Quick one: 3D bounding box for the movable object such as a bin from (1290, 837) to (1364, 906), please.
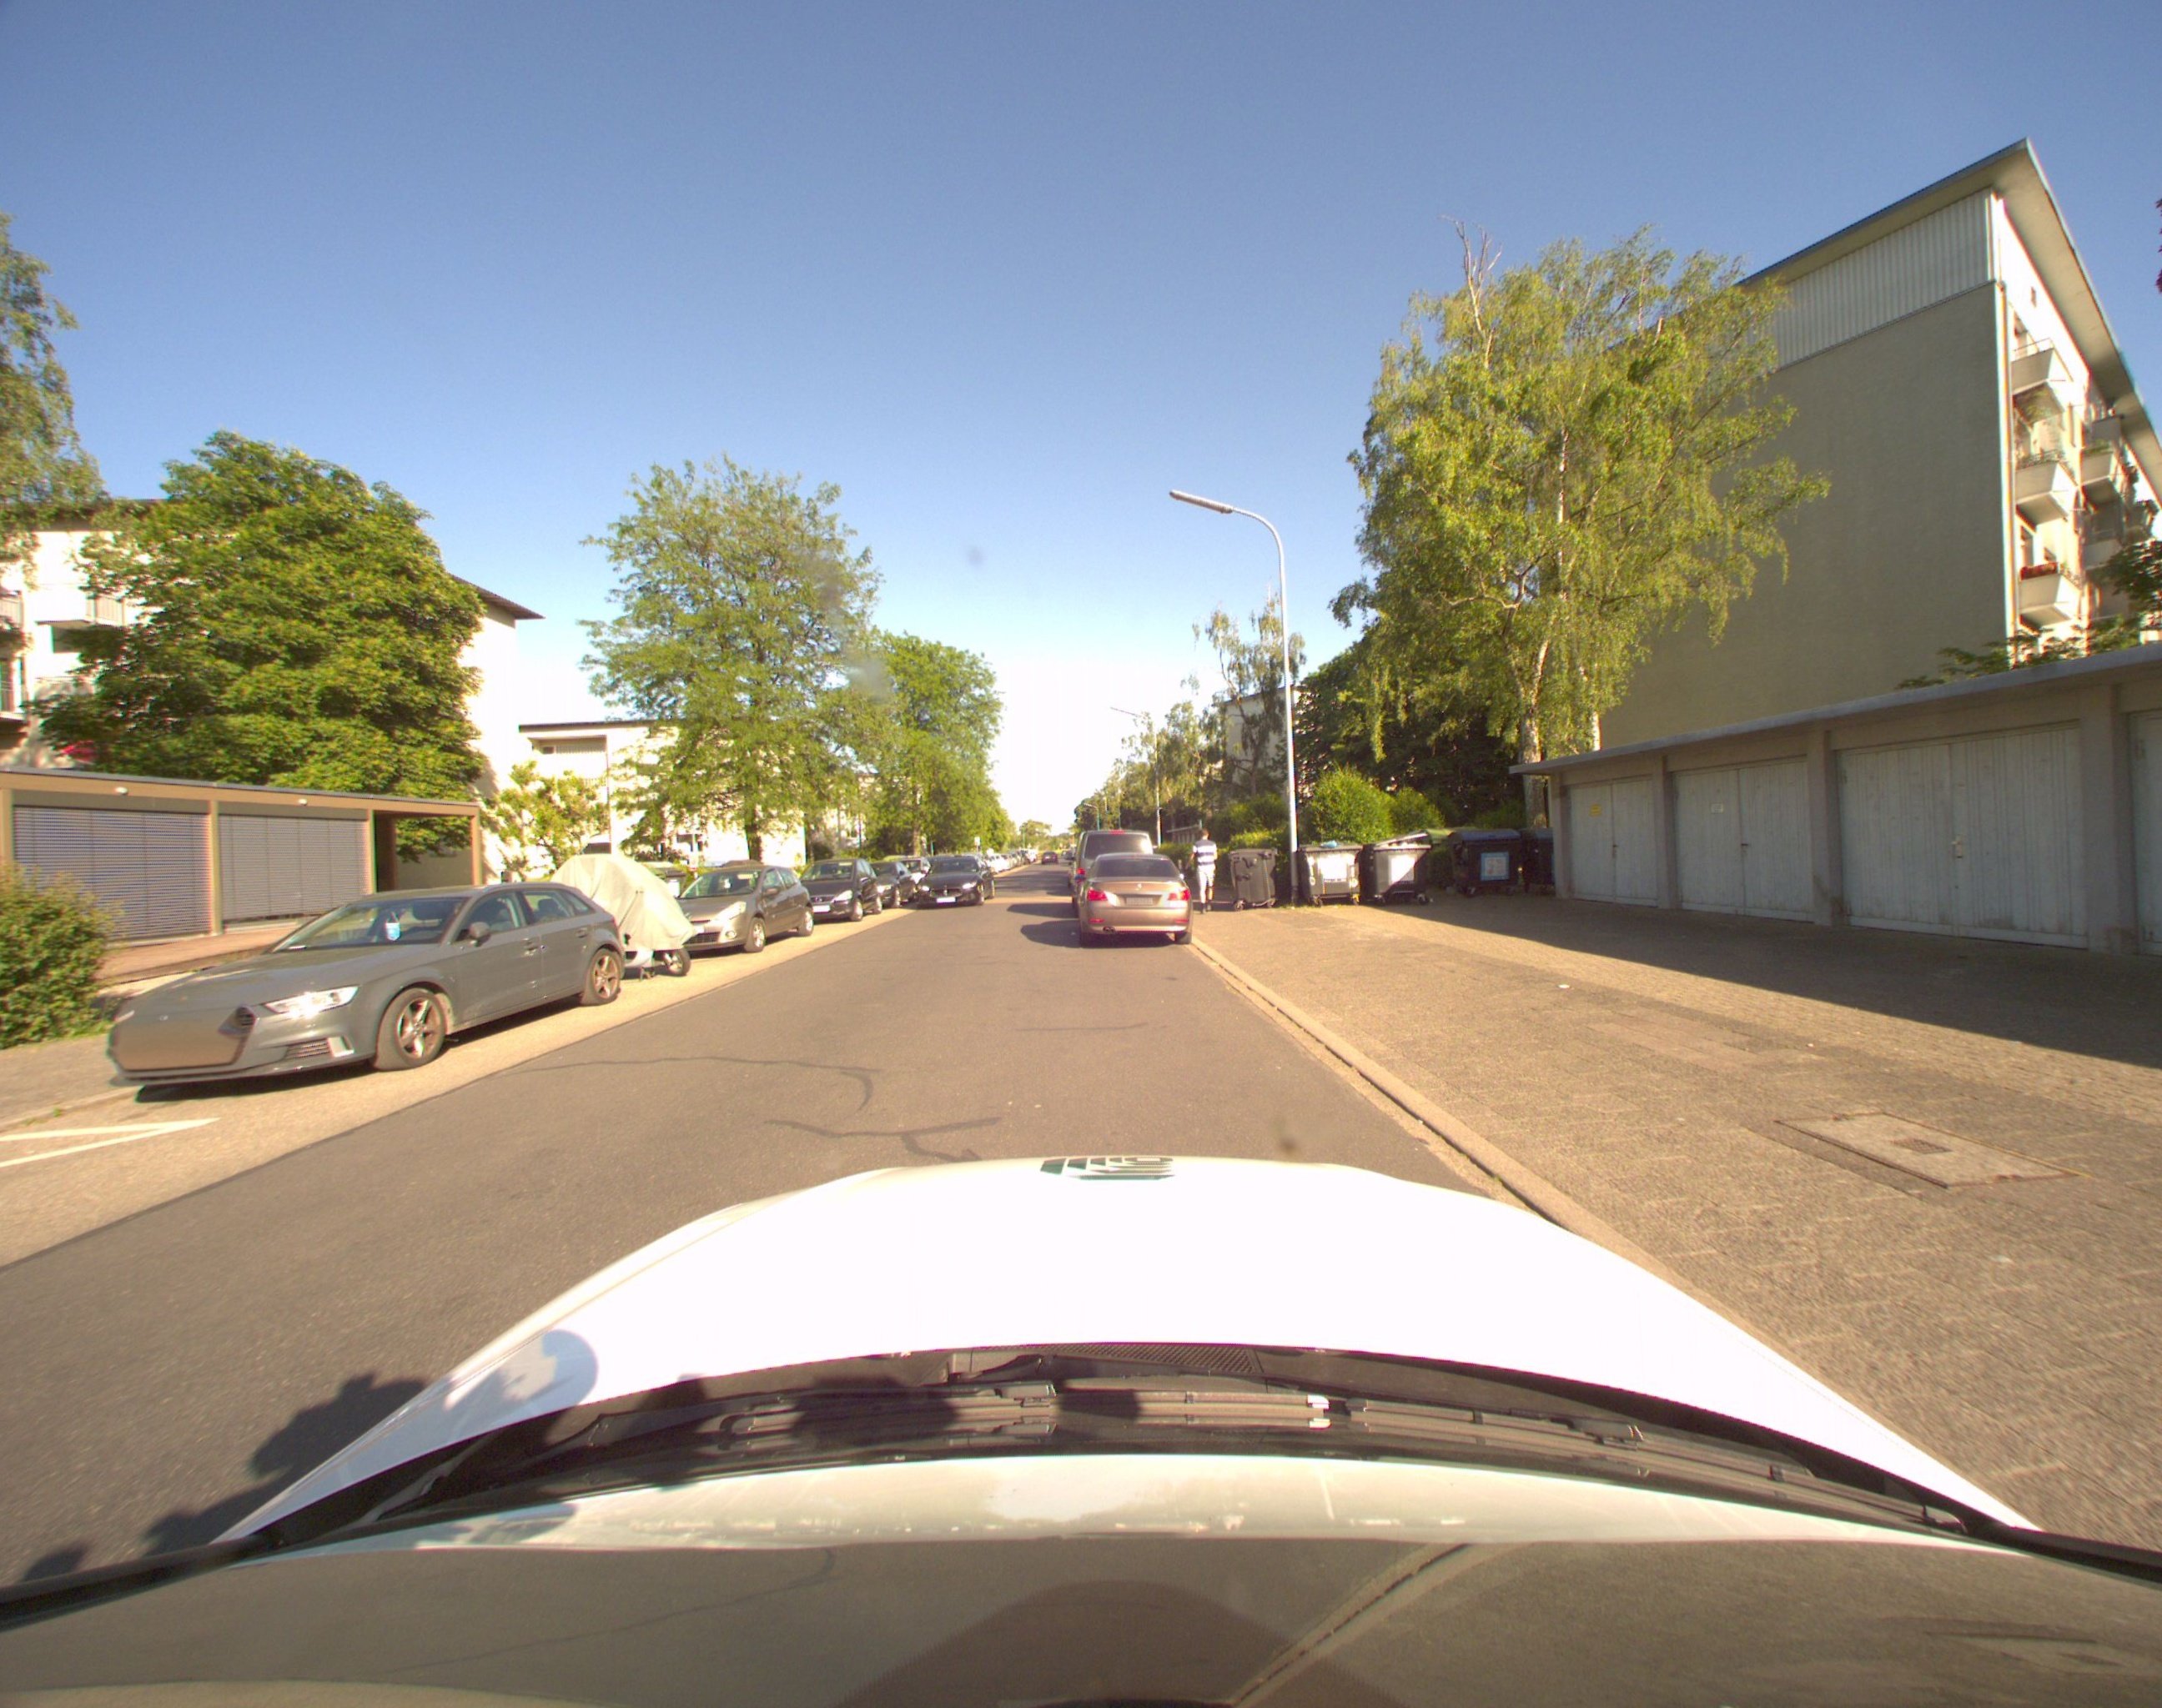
[{"bbox_3d":[5.213,0.364,17.333,1.219,1.365,1.134,-2,0,2],"label":"movable object such as a bin"}]

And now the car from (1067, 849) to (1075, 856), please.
[{"bbox_3d":[-2.414,-0.361,195.415,1.792,1.548,3.947,-1,0,-3],"label":"car"}]

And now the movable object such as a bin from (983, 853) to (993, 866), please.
[{"bbox_3d":[-10.638,0.638,93.213,1.098,1.420,1.360,0,0,-1],"label":"movable object such as a bin"}]

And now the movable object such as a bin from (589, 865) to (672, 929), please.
[{"bbox_3d":[-10.669,0.999,19.331,1.174,1.408,1.343,-2,0,-1],"label":"movable object such as a bin"}]

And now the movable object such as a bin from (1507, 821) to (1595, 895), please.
[{"bbox_3d":[10.170,0.058,17.679,1.271,1.465,1.134,-2,4,2],"label":"movable object such as a bin"}]

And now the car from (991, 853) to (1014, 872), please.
[{"bbox_3d":[-6.803,0.689,70.974,1.682,1.505,3.814,-3,0,-3],"label":"car"}]

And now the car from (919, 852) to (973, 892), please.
[{"bbox_3d":[-6.229,0.793,37.982,1.749,1.606,3.968,-4,0,0],"label":"car"}]

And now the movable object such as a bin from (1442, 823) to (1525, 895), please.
[{"bbox_3d":[8.856,0.084,17.971,1.271,1.465,1.134,-2,4,2],"label":"movable object such as a bin"}]

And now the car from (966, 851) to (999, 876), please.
[{"bbox_3d":[-6.504,0.592,54.108,1.657,1.513,3.945,-3,0,0],"label":"car"}]

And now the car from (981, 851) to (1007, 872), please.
[{"bbox_3d":[-6.974,0.585,65.304,1.682,1.535,3.888,-3,0,-2],"label":"car"}]

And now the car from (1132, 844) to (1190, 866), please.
[{"bbox_3d":[6.370,0.048,65.202,4.402,1.513,1.828,-3,0,-1],"label":"car"}]

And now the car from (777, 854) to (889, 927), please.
[{"bbox_3d":[-6.251,0.852,20.953,1.750,1.574,3.717,-4,0,-2],"label":"car"}]

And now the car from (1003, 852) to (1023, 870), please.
[{"bbox_3d":[-6.832,0.677,81.577,1.705,1.600,3.982,-5,0,-3],"label":"car"}]

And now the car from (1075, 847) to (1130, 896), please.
[{"bbox_3d":[0.640,0.531,27.265,1.618,1.490,4.033,-1,0,-2],"label":"car"}]

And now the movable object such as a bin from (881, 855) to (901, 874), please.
[{"bbox_3d":[-15.025,0.809,64.458,1.173,1.420,1.463,0,0,1],"label":"movable object such as a bin"}]

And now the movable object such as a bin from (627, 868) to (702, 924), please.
[{"bbox_3d":[-10.739,1.057,21.054,1.173,1.340,1.343,-2,0,0],"label":"movable object such as a bin"}]

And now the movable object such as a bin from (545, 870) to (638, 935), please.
[{"bbox_3d":[-10.706,1.036,17.870,1.174,1.288,1.343,-2,0,-1],"label":"movable object such as a bin"}]

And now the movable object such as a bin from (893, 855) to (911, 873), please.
[{"bbox_3d":[-14.864,0.804,67.680,1.173,1.420,1.463,0,0,1],"label":"movable object such as a bin"}]

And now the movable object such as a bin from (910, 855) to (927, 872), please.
[{"bbox_3d":[-13.584,0.772,68.292,1.130,1.420,1.361,0,0,0],"label":"movable object such as a bin"}]

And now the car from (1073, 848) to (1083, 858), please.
[{"bbox_3d":[-0.589,-0.137,156.437,1.792,1.786,3.947,-1,0,-3],"label":"car"}]

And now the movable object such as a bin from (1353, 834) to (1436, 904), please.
[{"bbox_3d":[6.502,0.305,16.975,1.271,1.365,1.134,-2,0,2],"label":"movable object such as a bin"}]

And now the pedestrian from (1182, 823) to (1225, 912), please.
[{"bbox_3d":[2.738,0.294,18.320,0.701,1.888,0.872,-4,0,0],"label":"pedestrian"}]

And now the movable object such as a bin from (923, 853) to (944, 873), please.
[{"bbox_3d":[-10.285,0.642,56.767,1.132,1.382,1.442,0,0,0],"label":"movable object such as a bin"}]

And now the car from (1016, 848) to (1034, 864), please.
[{"bbox_3d":[-7.088,0.224,103.198,1.909,1.962,5.086,-3,0,-1],"label":"car"}]

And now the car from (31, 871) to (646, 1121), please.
[{"bbox_3d":[-6.109,0.995,7.595,1.749,1.421,4.267,-4,0,-1],"label":"car"}]

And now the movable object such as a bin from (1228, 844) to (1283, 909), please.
[{"bbox_3d":[3.877,0.476,18.214,1.020,1.310,1.390,-5,0,9],"label":"movable object such as a bin"}]

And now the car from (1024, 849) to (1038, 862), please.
[{"bbox_3d":[-7.131,0.139,116.931,1.741,1.732,4.004,-3,0,-1],"label":"car"}]

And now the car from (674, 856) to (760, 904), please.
[{"bbox_3d":[-13.705,0.928,30.910,1.567,1.641,3.996,-1,0,-3],"label":"car"}]

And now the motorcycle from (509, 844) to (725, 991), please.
[{"bbox_3d":[-6.261,0.823,11.118,2.252,1.726,0.931,-5,0,-4],"label":"motorcycle"}]

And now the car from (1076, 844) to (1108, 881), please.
[{"bbox_3d":[0.507,0.390,39.499,1.484,1.718,2.581,-1,0,-1],"label":"car"}]

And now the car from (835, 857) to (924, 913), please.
[{"bbox_3d":[-6.334,0.907,26.060,1.750,1.480,4.534,-4,0,-2],"label":"car"}]

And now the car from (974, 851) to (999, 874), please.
[{"bbox_3d":[-6.778,0.611,58.276,1.661,1.513,3.529,-3,0,-7],"label":"car"}]

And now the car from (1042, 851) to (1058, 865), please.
[{"bbox_3d":[-3.491,0.424,91.517,1.676,1.513,4.099,-1,0,-3],"label":"car"}]

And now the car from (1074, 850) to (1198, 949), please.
[{"bbox_3d":[0.841,0.658,14.309,1.795,1.418,4.636,-1,0,1],"label":"car"}]

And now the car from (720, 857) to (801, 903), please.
[{"bbox_3d":[-11.746,0.901,30.110,1.567,1.525,3.996,-1,0,-3],"label":"car"}]

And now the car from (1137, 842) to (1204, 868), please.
[{"bbox_3d":[6.224,0.051,56.993,4.499,1.513,1.829,-3,0,0],"label":"car"}]

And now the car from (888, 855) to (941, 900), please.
[{"bbox_3d":[-6.521,0.876,32.159,1.441,1.574,3.140,-4,0,-2],"label":"car"}]

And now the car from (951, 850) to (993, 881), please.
[{"bbox_3d":[-6.429,0.664,48.351,1.897,1.639,4.347,-3,0,-1],"label":"car"}]

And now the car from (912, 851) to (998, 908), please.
[{"bbox_3d":[-3.689,0.694,24.705,1.905,1.476,4.568,-3,0,-1],"label":"car"}]

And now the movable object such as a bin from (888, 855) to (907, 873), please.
[{"bbox_3d":[-14.910,0.803,66.159,1.173,1.420,1.463,0,0,1],"label":"movable object such as a bin"}]

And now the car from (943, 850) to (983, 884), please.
[{"bbox_3d":[-6.217,0.640,43.096,1.631,1.606,3.532,-3,0,-2],"label":"car"}]

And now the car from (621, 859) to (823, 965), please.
[{"bbox_3d":[-6.277,0.921,14.797,1.748,1.480,3.959,-4,0,1],"label":"car"}]

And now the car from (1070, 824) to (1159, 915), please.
[{"bbox_3d":[0.690,0.320,19.890,1.847,1.934,4.702,-1,0,-2],"label":"car"}]

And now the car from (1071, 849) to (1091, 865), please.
[{"bbox_3d":[-0.020,0.284,78.030,1.749,1.513,4.099,-1,0,-3],"label":"car"}]

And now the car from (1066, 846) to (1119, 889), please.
[{"bbox_3d":[0.389,0.493,32.431,1.728,1.489,4.496,-3,0,-3],"label":"car"}]
